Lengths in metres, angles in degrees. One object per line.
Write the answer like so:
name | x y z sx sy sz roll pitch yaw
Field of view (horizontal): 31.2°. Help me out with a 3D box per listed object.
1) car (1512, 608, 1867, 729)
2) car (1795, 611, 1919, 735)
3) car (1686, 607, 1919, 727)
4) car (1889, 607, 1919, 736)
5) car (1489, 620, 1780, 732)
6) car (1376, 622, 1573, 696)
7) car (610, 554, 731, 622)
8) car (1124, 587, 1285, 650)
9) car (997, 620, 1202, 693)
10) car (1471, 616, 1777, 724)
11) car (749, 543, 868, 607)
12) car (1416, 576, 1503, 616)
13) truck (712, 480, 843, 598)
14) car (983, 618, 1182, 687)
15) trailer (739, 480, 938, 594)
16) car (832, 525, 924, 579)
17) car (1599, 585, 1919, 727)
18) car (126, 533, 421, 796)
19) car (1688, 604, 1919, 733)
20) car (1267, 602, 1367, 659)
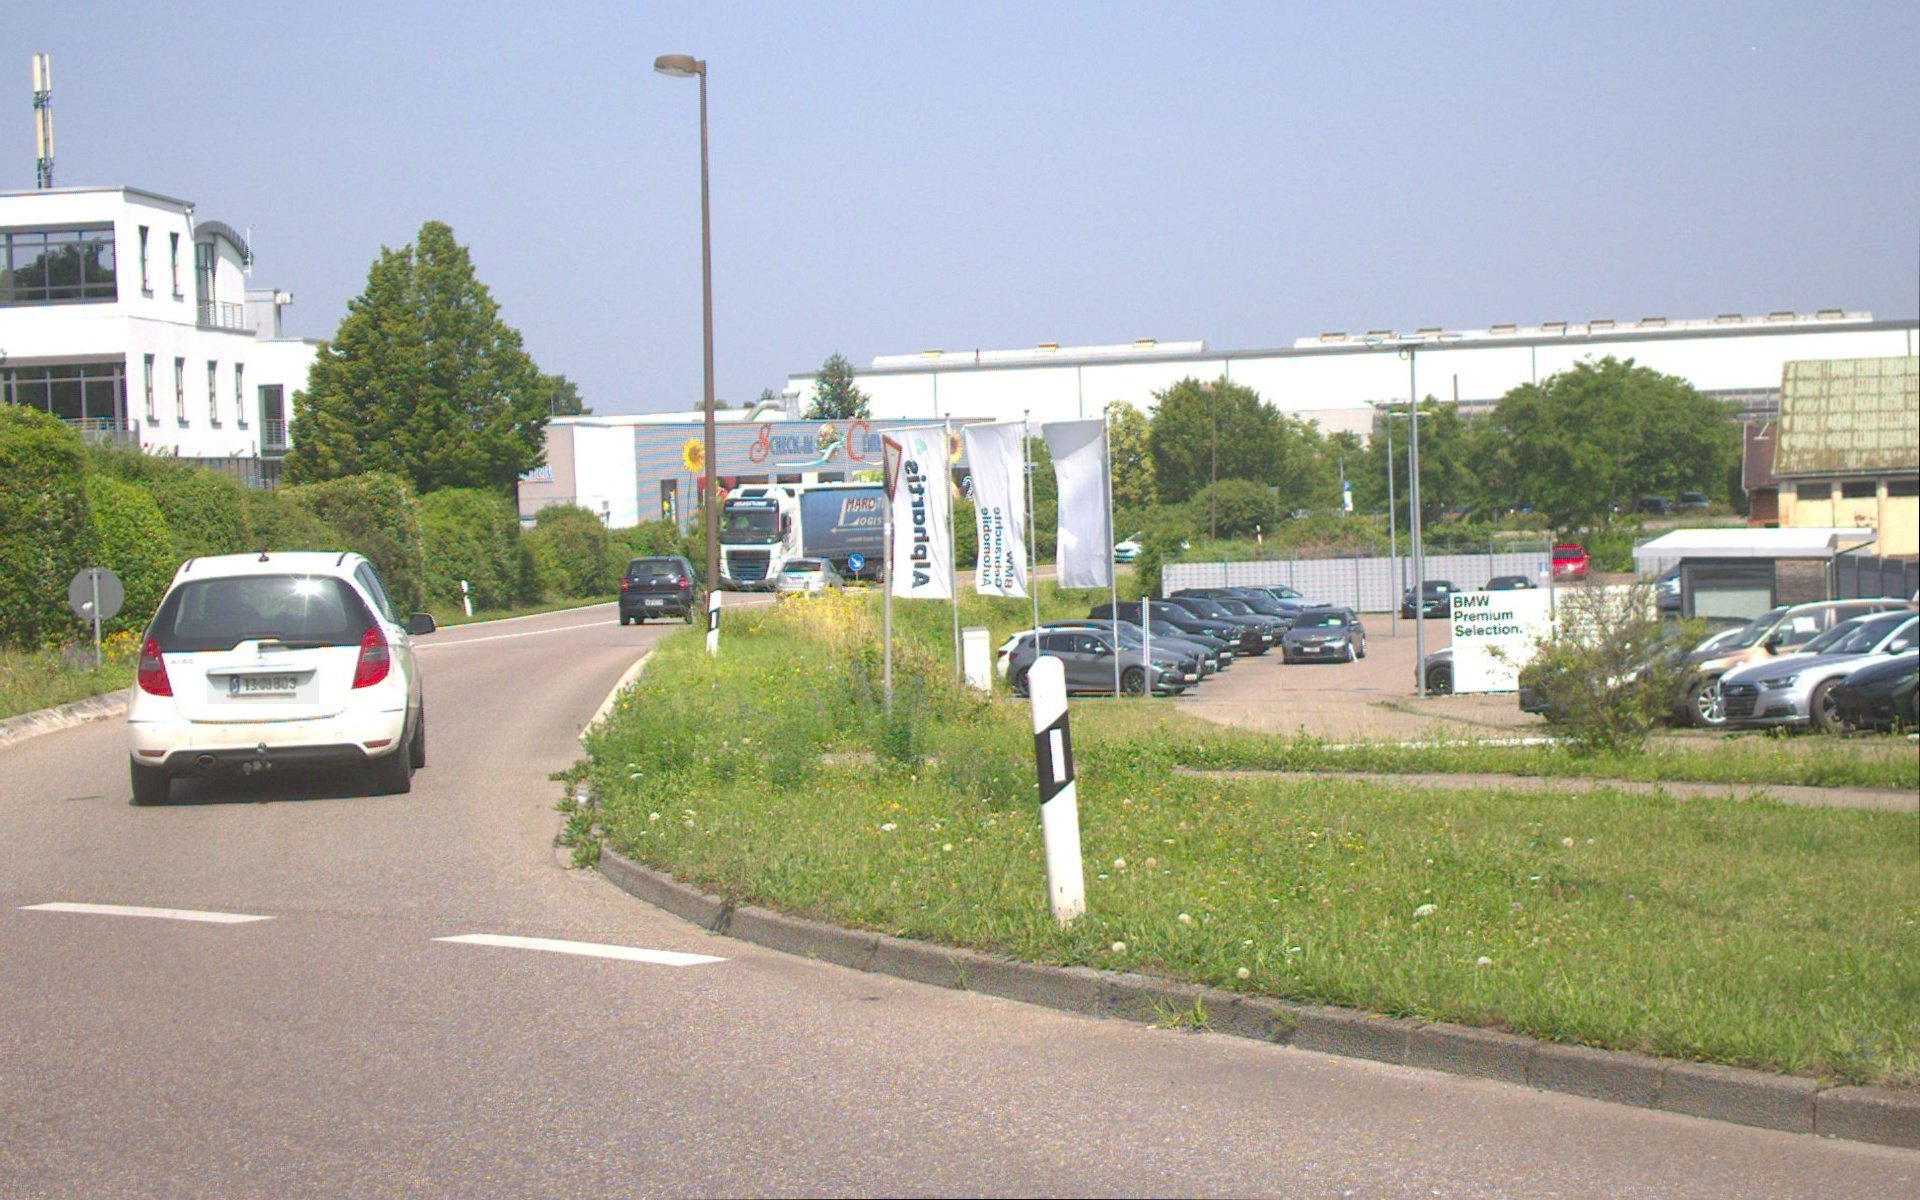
car | 10.968 1.040 51.876 4.766 1.503 2.000 -3 -1 -5
car | 12.609 0.773 41.894 4.247 1.408 1.923 -4 -1 -5
car | 12.386 0.880 47.251 4.247 1.460 1.874 -3 -1 -5
car | 13.126 0.667 39.498 4.247 1.477 1.923 -4 -1 -14
car | 10.608 1.204 54.237 3.986 1.547 2.000 -3 -1 -10
car | 10.978 1.249 73.377 3.796 1.518 1.749 0 1 27
car | -6.477 -0.295 77.382 1.829 1.465 4.409 -1 1 7
car | 7.014 0.517 98.735 4.231 1.695 1.915 0 3 37
car | 3.029 1.212 74.796 4.166 1.518 1.687 0 1 33
car | 11.009 1.156 57.143 4.479 1.634 2.148 -1 -1 -10
car | -4.884 -0.812 111.310 1.997 2.007 3.993 0 1 30
car | 17.955 -0.147 123.418 1.996 1.393 3.995 0 1 25
truck | -6.838 -2.301 129.733 2.515 4.243 6.107 -2 0 21
car | 2.784 1.182 78.211 4.165 1.518 1.749 0 1 29
trailer | -4.620 -2.445 136.059 2.673 4.227 14.551 0 1 20
car | -3.113 -1.820 131.530 1.996 2.007 3.995 -1 1 23
car | 11.641 0.811 49.632 4.247 1.742 2.000 -4 -1 -5
car | -4.720 0.384 23.309 1.780 1.598 3.894 -1 1 -13
car | 11.955 0.823 44.588 4.420 1.460 1.923 -4 -1 -13
car | 9.801 0.825 94.109 2.136 1.452 4.529 -1 1 13
